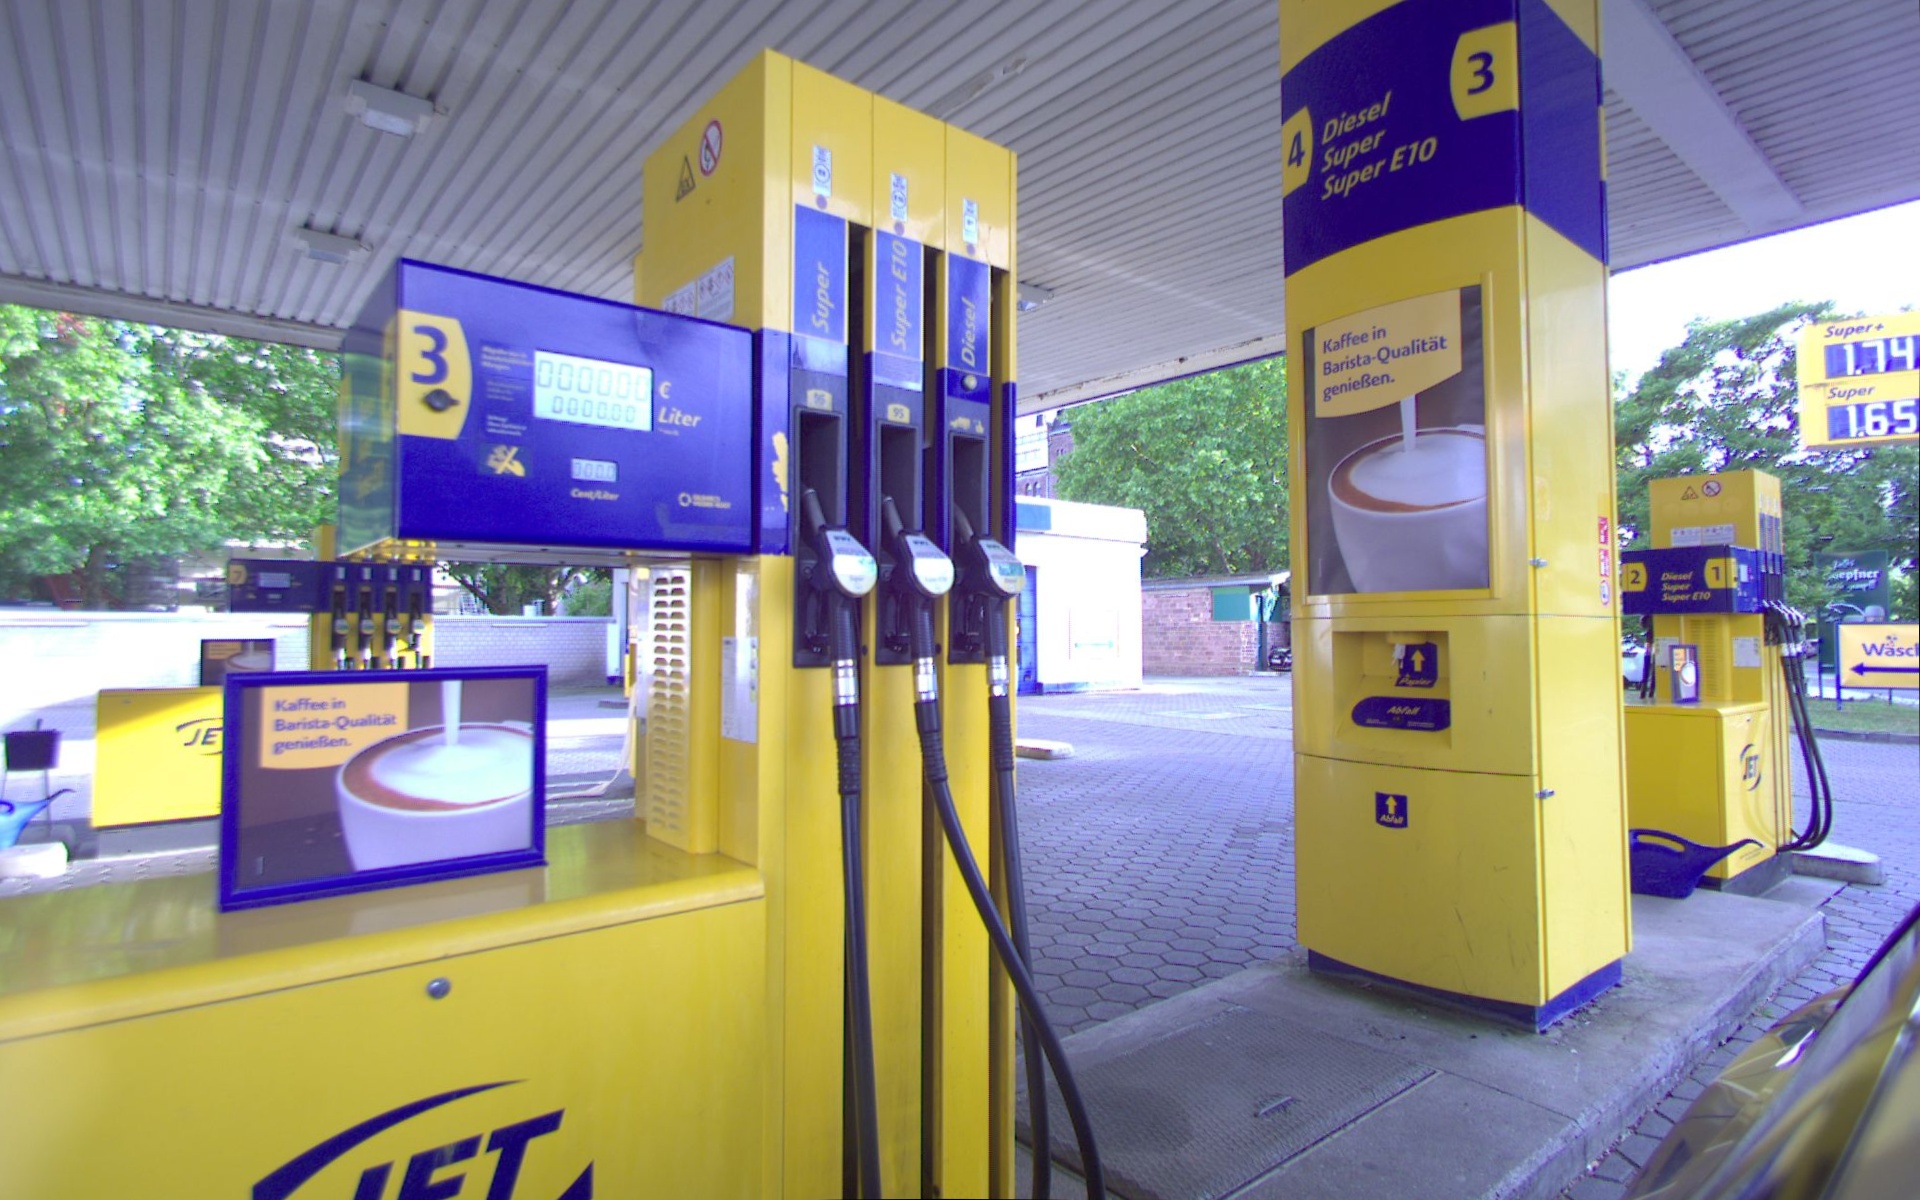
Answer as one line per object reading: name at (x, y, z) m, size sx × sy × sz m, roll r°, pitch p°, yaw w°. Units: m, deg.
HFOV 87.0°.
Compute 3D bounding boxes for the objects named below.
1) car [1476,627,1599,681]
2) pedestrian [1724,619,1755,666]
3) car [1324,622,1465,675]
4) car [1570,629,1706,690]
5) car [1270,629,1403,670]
car at (17.562, 1.643, 30.754) m, size 3.923 × 1.529 × 1.740 m, roll 3°, pitch -3°, yaw -35°
pedestrian at (34.338, 1.853, 44.594) m, size 0.926 × 2.040 × 1.202 m, roll 0°, pitch -2°, yaw 31°
car at (13.796, 1.550, 32.154) m, size 4.134 × 1.544 × 1.791 m, roll 2°, pitch -3°, yaw -24°
car at (18.227, 1.564, 27.166) m, size 3.923 × 1.529 × 1.740 m, roll 2°, pitch -3°, yaw -35°
car at (12.837, 1.701, 34.503) m, size 4.134 × 1.294 × 1.751 m, roll 2°, pitch -3°, yaw -22°
